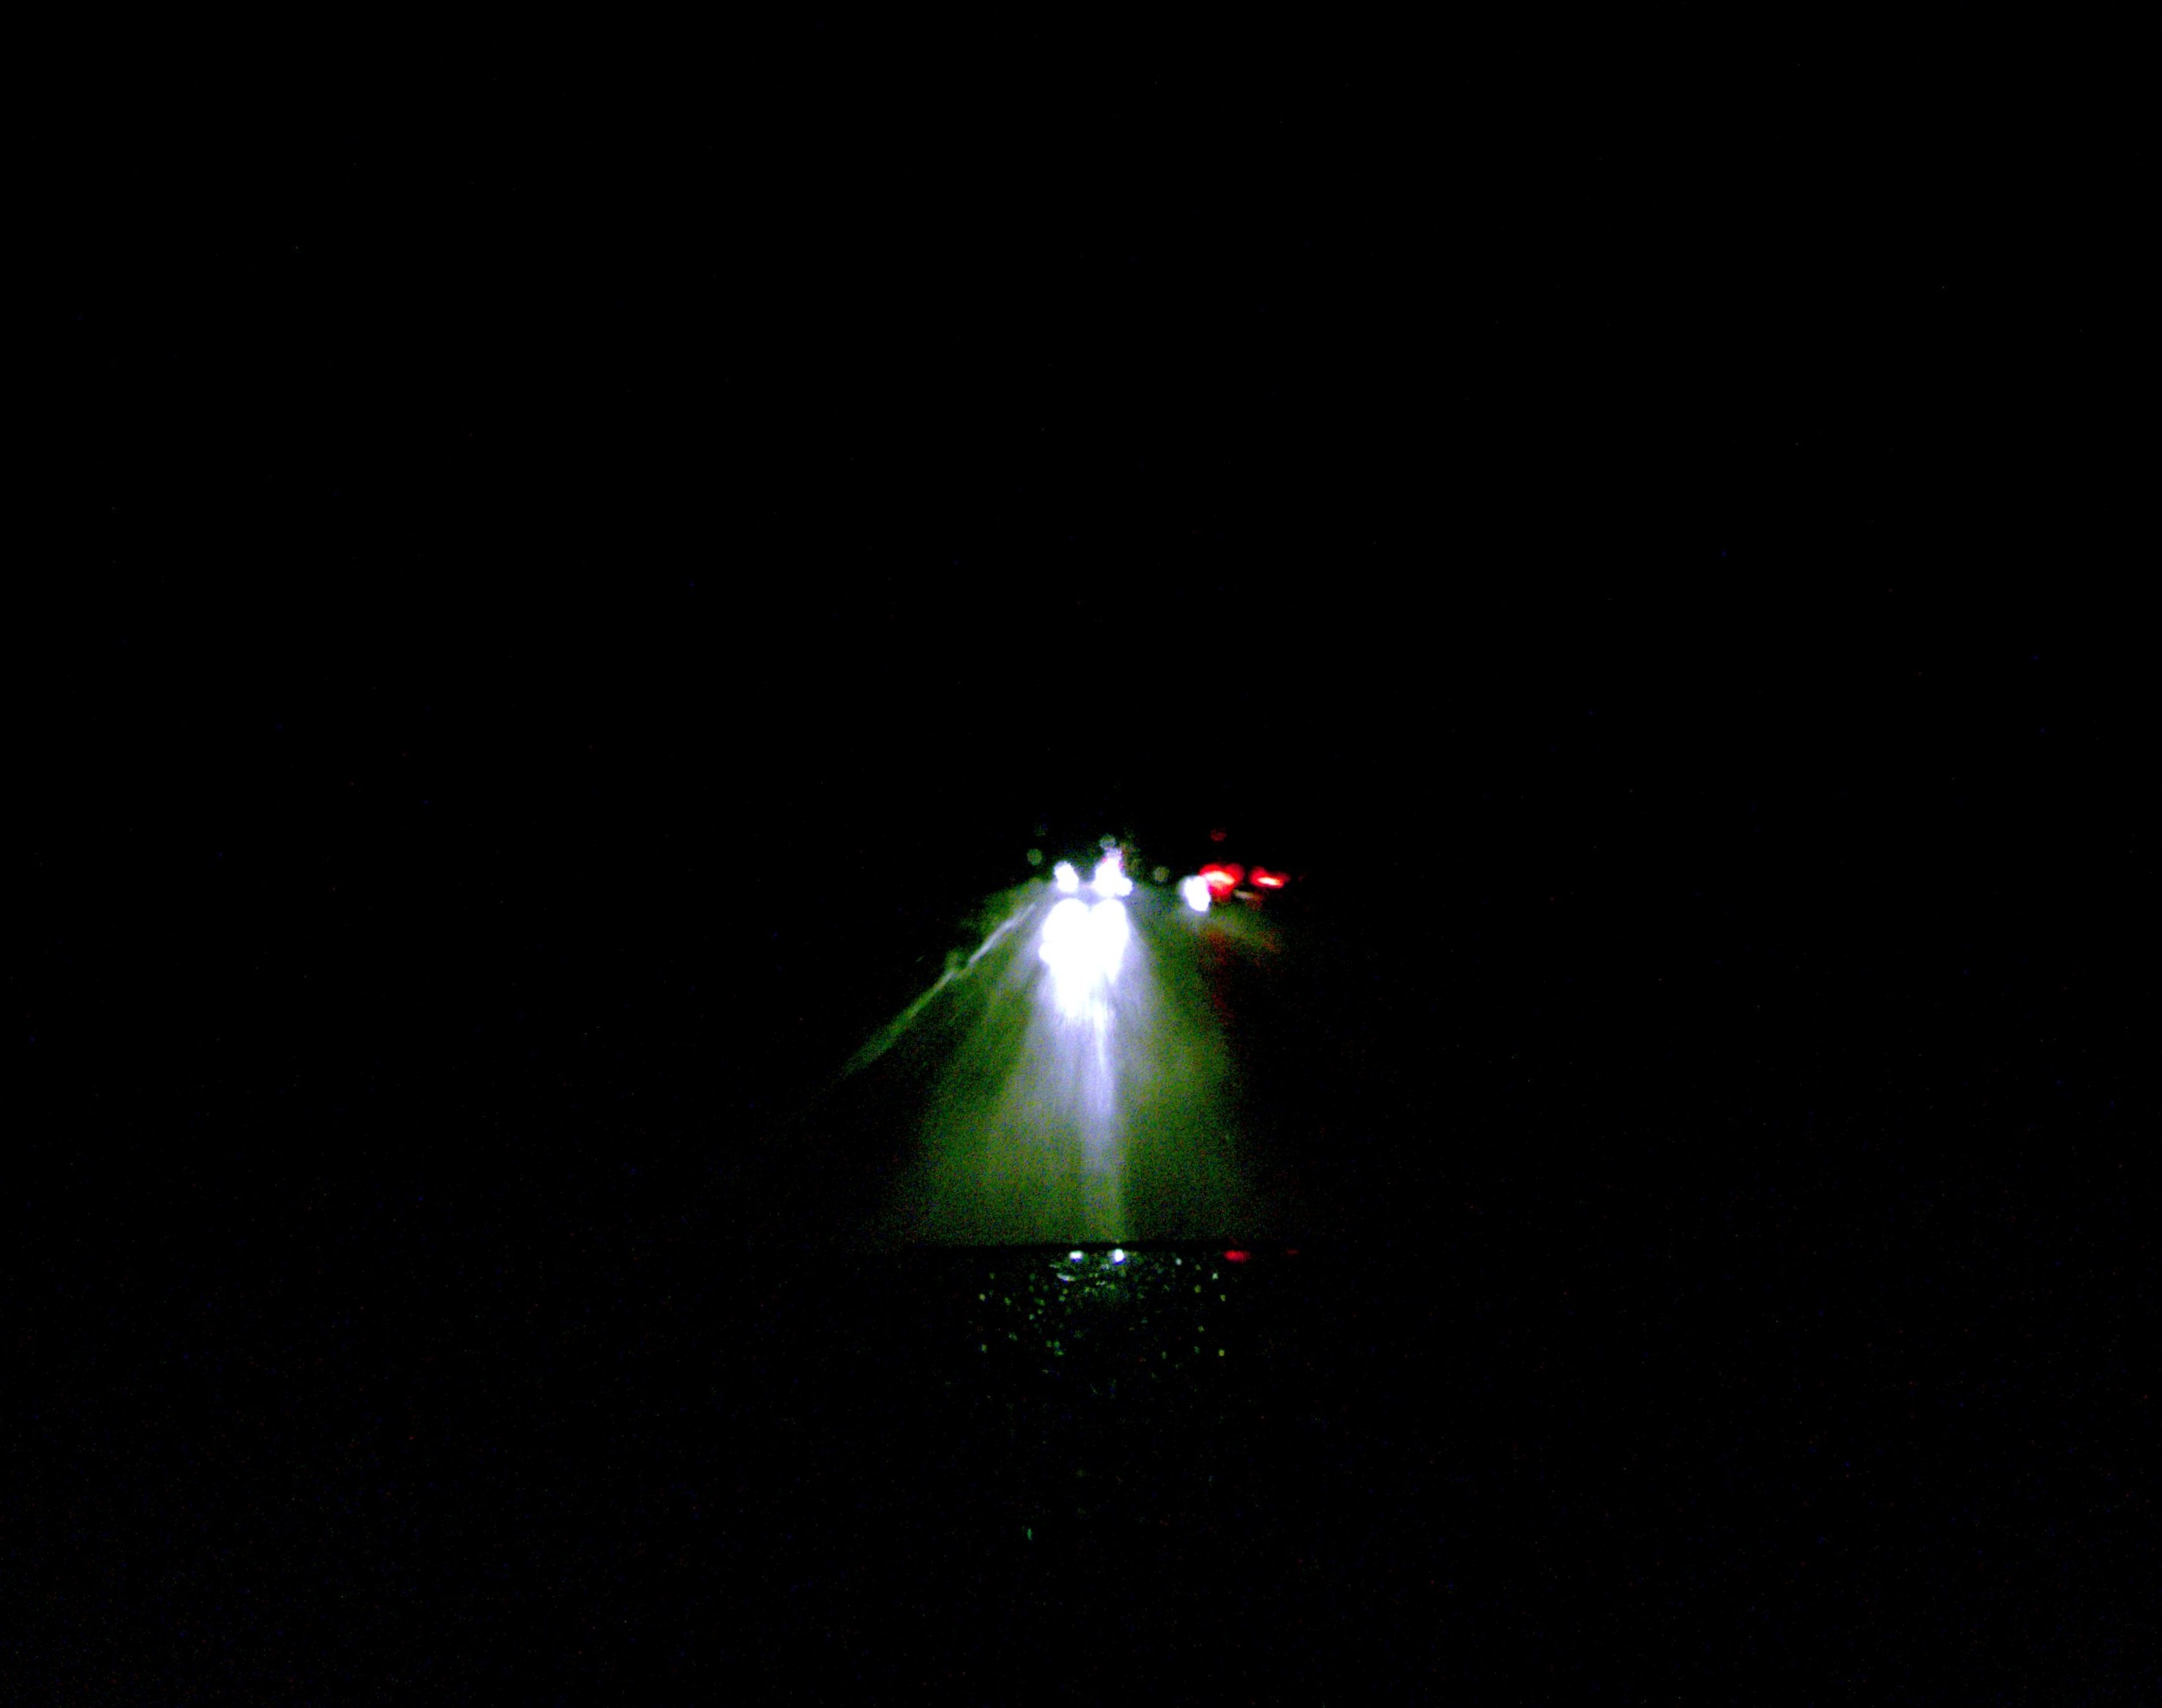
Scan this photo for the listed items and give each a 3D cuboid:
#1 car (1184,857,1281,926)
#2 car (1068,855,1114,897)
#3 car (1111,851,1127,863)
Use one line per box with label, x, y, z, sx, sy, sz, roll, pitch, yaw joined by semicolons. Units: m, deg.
car;3.771;0.871;19.539;1.799;1.529;3.801;1;0;1
car;0.398;0.859;31.200;1.793;1.593;4.000;0;0;1
car;4.773;0.357;96.085;1.769;1.510;4.490;1;0;0
